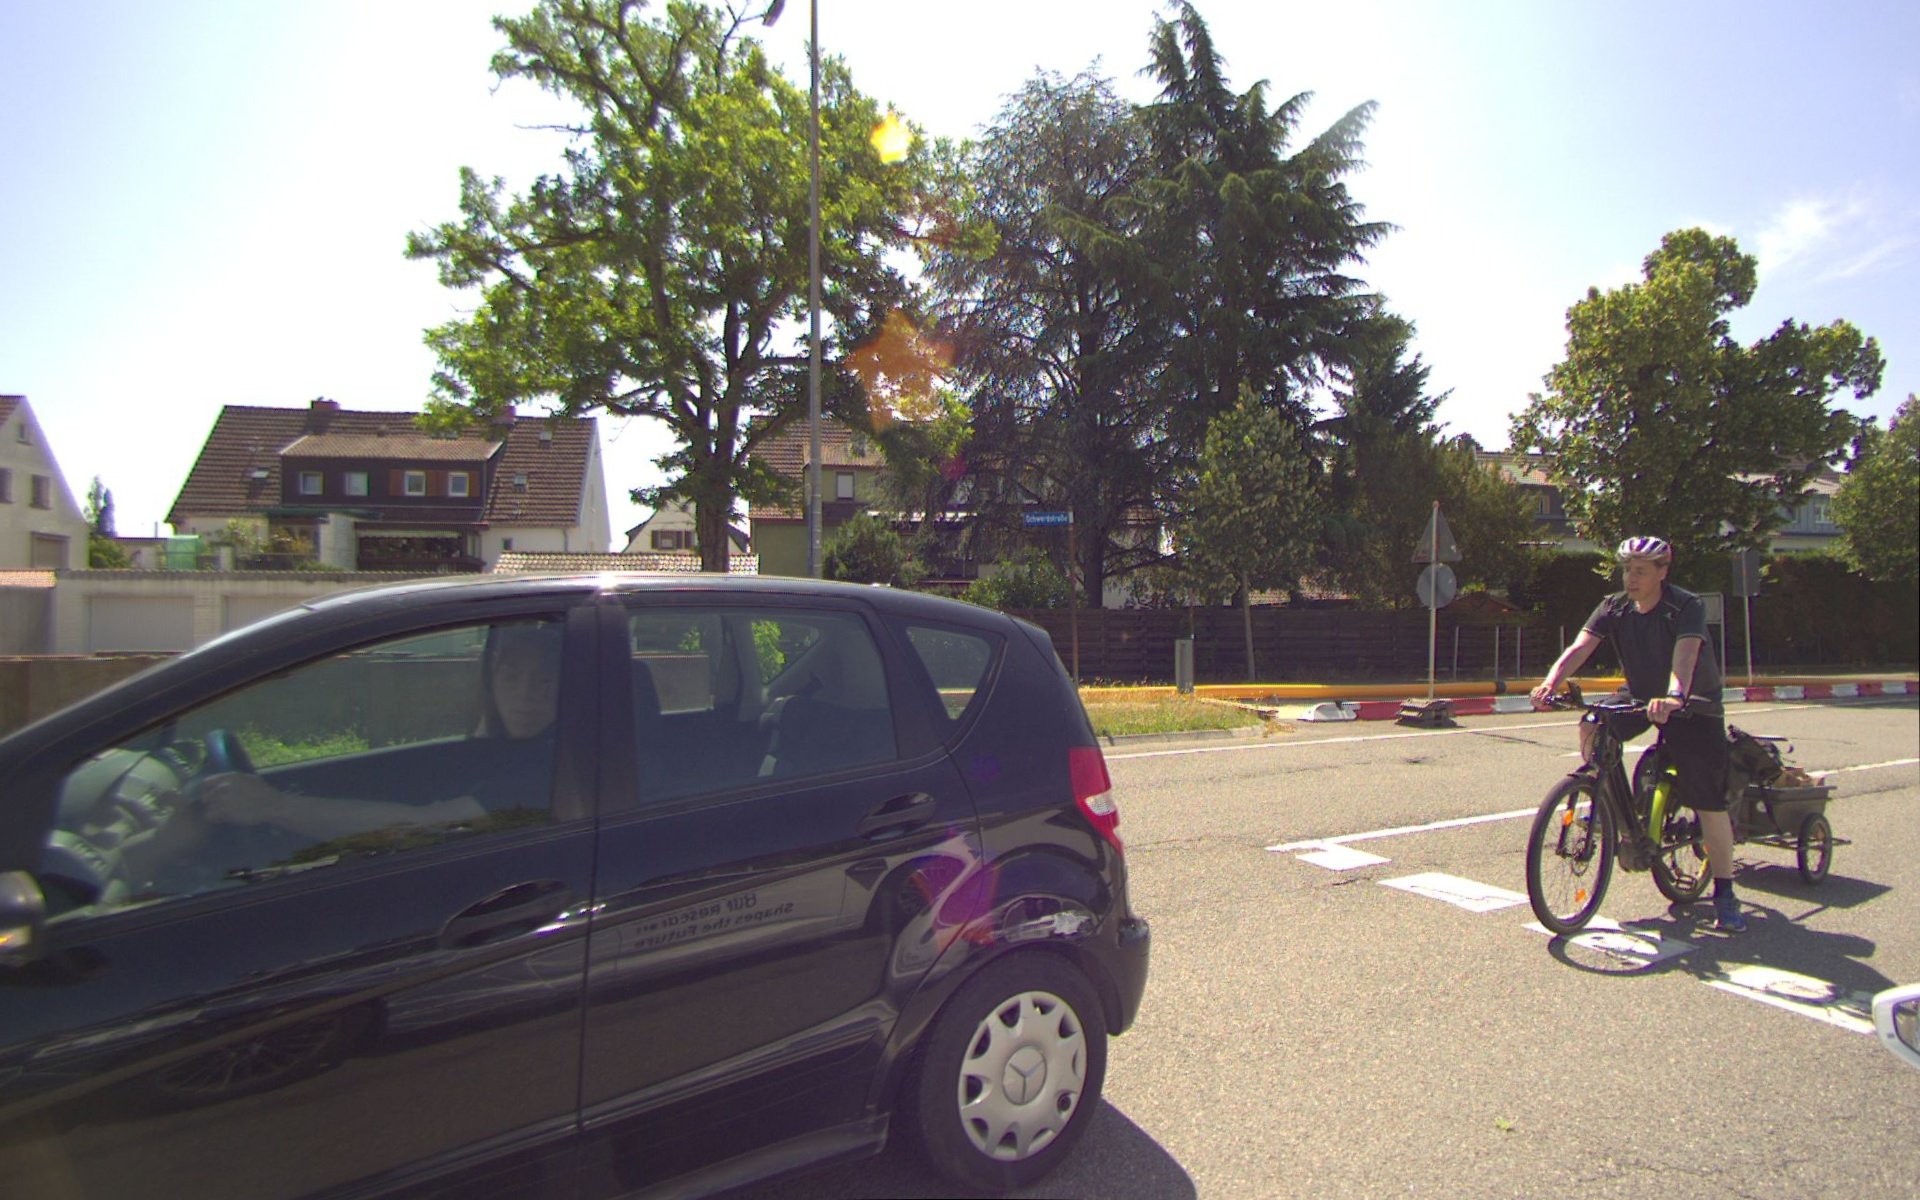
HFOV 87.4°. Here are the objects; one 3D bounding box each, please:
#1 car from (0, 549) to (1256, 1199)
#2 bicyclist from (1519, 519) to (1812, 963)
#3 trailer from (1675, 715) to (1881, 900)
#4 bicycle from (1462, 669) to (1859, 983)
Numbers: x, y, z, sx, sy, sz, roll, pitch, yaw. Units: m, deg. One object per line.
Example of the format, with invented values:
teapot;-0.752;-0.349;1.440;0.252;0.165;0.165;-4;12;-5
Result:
car;-1.208;0.711;2.553;3.788;1.553;1.715;1;0;-33
bicyclist;3.412;0.610;4.889;0.965;1.890;0.842;1;-1;-29
trailer;4.718;1.146;5.791;1.119;0.867;0.568;1;-1;-30
bicycle;3.442;0.966;4.902;1.953;1.181;0.846;1;-1;-30
